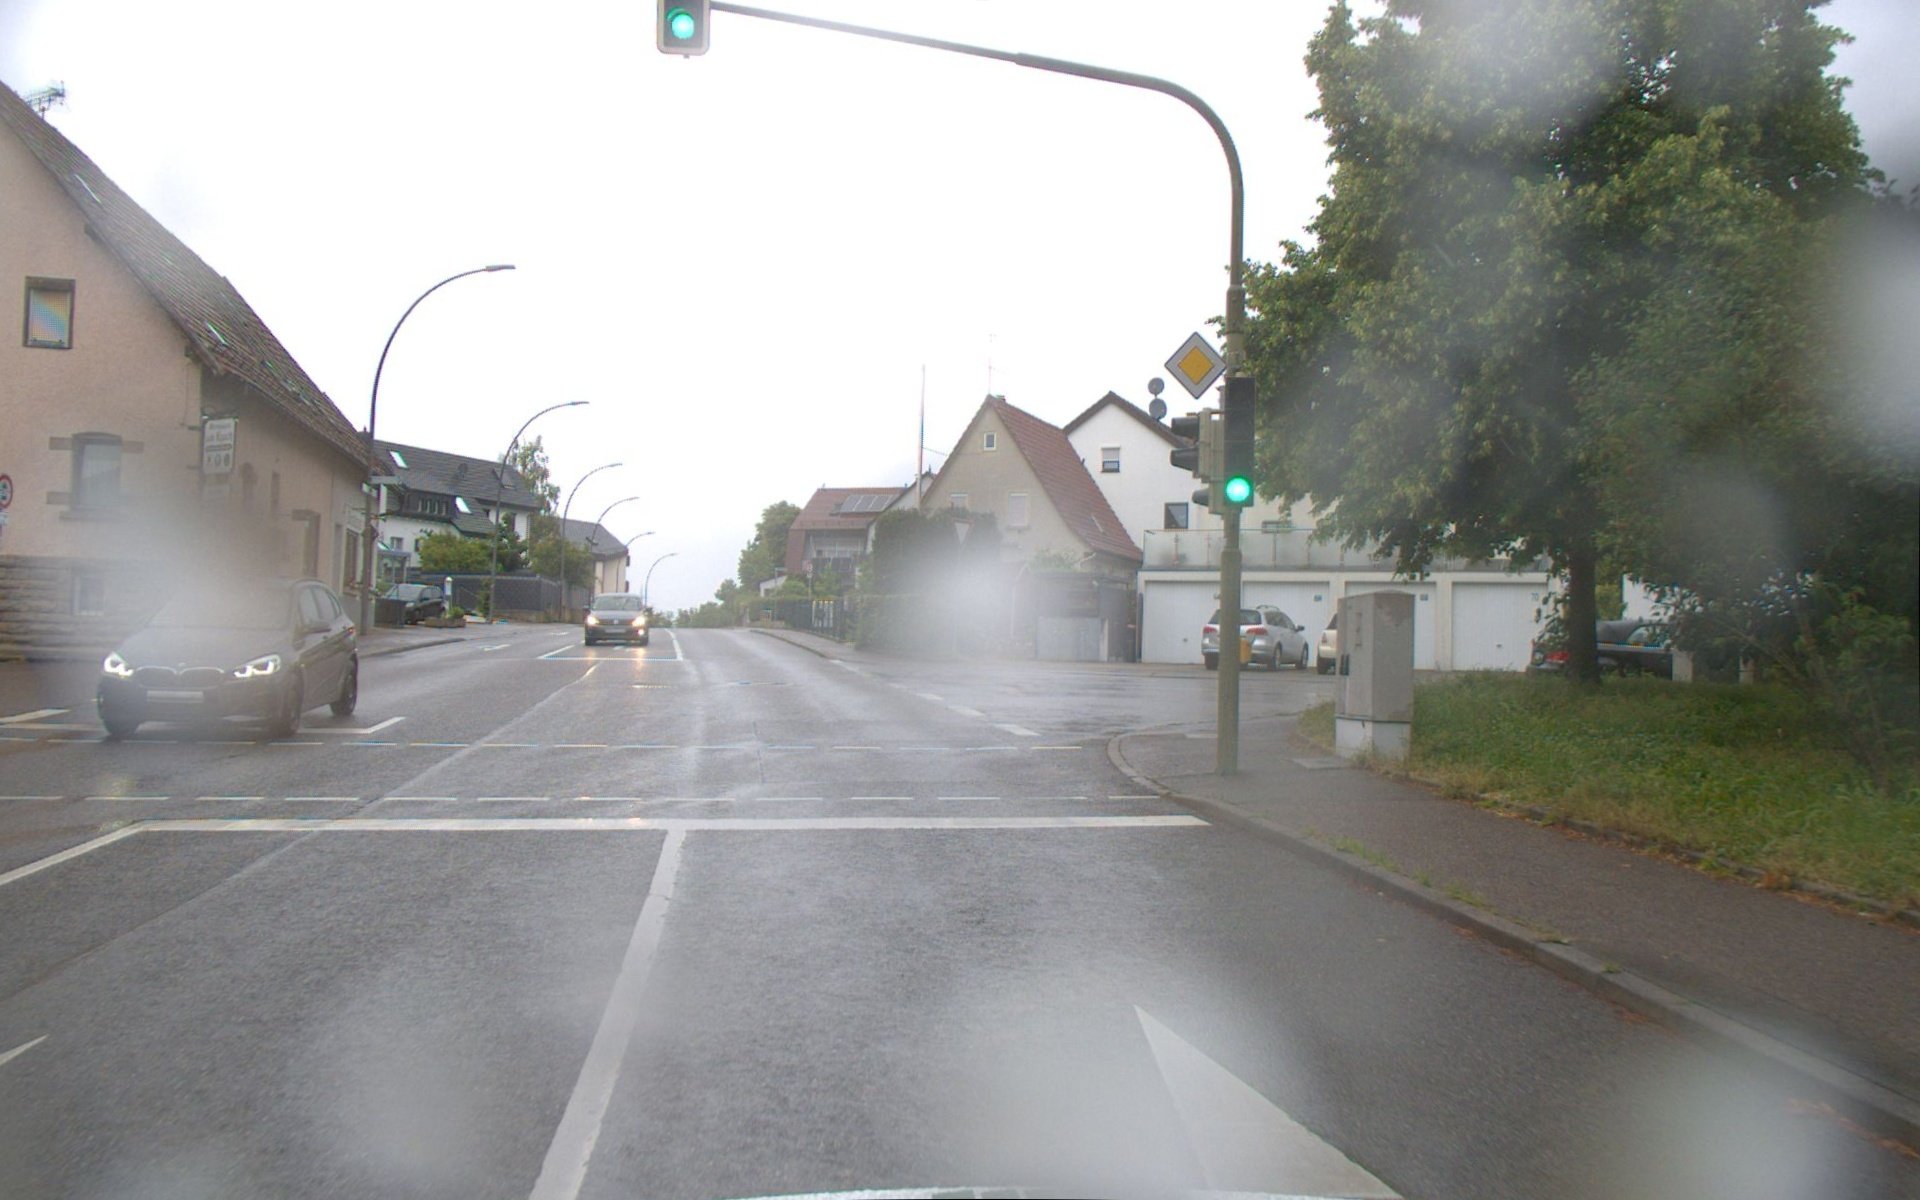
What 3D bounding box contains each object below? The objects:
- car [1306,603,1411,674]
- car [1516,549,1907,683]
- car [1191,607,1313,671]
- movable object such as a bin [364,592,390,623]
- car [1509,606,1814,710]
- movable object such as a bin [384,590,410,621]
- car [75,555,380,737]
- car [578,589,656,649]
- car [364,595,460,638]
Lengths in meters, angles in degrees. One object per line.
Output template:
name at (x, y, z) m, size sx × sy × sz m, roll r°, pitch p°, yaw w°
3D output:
car at (9.491, 0.862, 39.201) m, size 1.952 × 1.557 × 4.001 m, roll 0°, pitch 0°, yaw 20°
car at (8.725, 0.188, 19.556) m, size 3.902 × 1.481 × 1.856 m, roll 0°, pitch -1°, yaw 13°
car at (7.147, 0.903, 40.150) m, size 1.954 × 1.422 × 4.148 m, roll 0°, pitch 0°, yaw 25°
movable object such as a bin at (-19.954, 0.264, 56.607) m, size 0.624 × 1.050 × 0.605 m, roll 0°, pitch -1°, yaw 3°
car at (11.078, 0.894, 26.360) m, size 4.087 × 1.467 × 1.834 m, roll 2°, pitch 0°, yaw 5°
movable object such as a bin at (-19.246, 0.203, 56.563) m, size 0.624 × 1.050 × 0.673 m, roll 0°, pitch -1°, yaw 3°
car at (-7.707, 0.441, 17.846) m, size 1.956 × 1.736 × 3.993 m, roll 1°, pitch 0°, yaw -8°
car at (-9.779, 0.505, 46.985) m, size 1.912 × 1.601 × 4.208 m, roll 1°, pitch 0°, yaw -15°
car at (-20.697, 0.629, 62.586) m, size 1.861 × 1.467 × 3.831 m, roll 3°, pitch 0°, yaw 8°
